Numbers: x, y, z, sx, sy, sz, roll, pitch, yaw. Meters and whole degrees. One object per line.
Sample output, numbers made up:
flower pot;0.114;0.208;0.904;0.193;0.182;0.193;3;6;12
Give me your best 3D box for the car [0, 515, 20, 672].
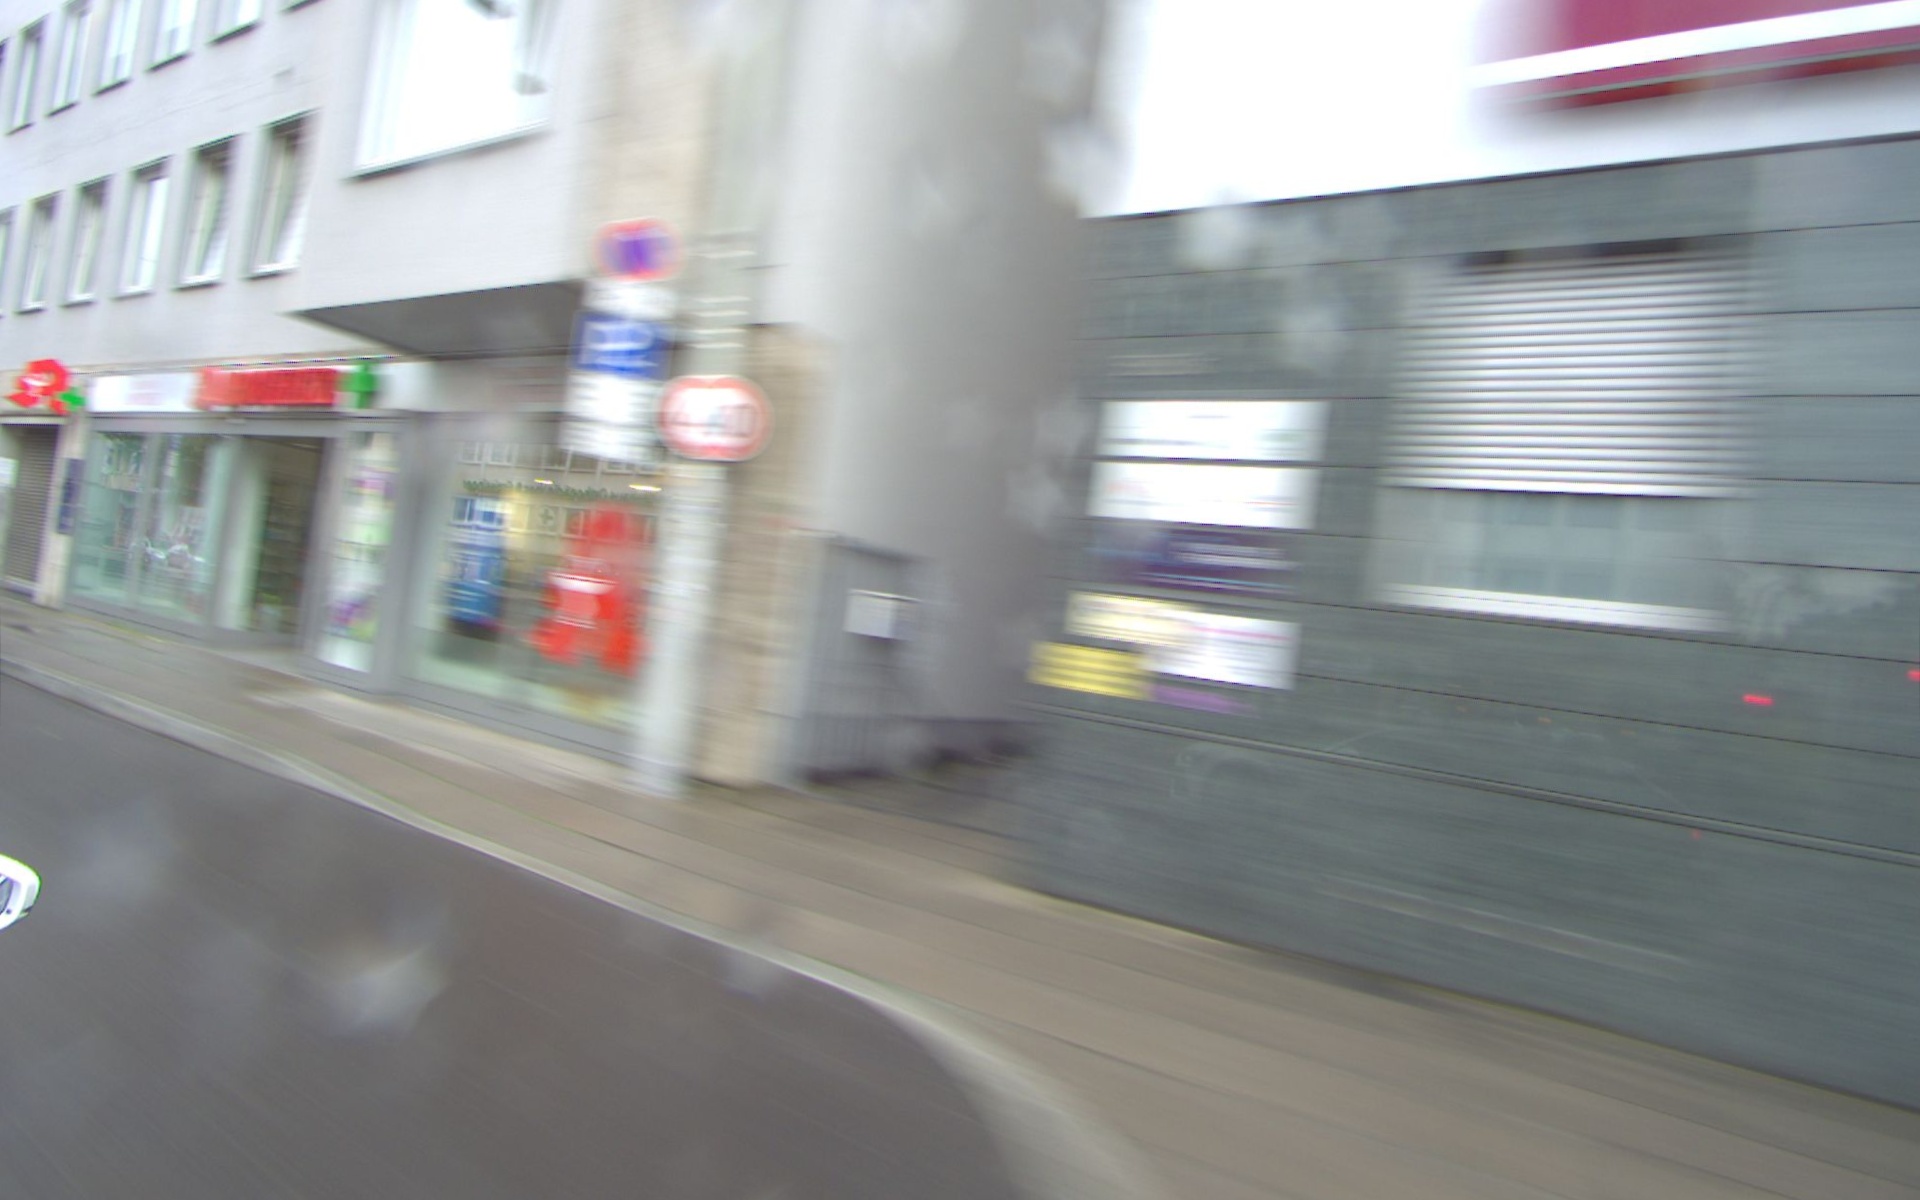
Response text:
car;-10.910;-0.214;9.405;4.201;1.612;1.997;6;-2;32
